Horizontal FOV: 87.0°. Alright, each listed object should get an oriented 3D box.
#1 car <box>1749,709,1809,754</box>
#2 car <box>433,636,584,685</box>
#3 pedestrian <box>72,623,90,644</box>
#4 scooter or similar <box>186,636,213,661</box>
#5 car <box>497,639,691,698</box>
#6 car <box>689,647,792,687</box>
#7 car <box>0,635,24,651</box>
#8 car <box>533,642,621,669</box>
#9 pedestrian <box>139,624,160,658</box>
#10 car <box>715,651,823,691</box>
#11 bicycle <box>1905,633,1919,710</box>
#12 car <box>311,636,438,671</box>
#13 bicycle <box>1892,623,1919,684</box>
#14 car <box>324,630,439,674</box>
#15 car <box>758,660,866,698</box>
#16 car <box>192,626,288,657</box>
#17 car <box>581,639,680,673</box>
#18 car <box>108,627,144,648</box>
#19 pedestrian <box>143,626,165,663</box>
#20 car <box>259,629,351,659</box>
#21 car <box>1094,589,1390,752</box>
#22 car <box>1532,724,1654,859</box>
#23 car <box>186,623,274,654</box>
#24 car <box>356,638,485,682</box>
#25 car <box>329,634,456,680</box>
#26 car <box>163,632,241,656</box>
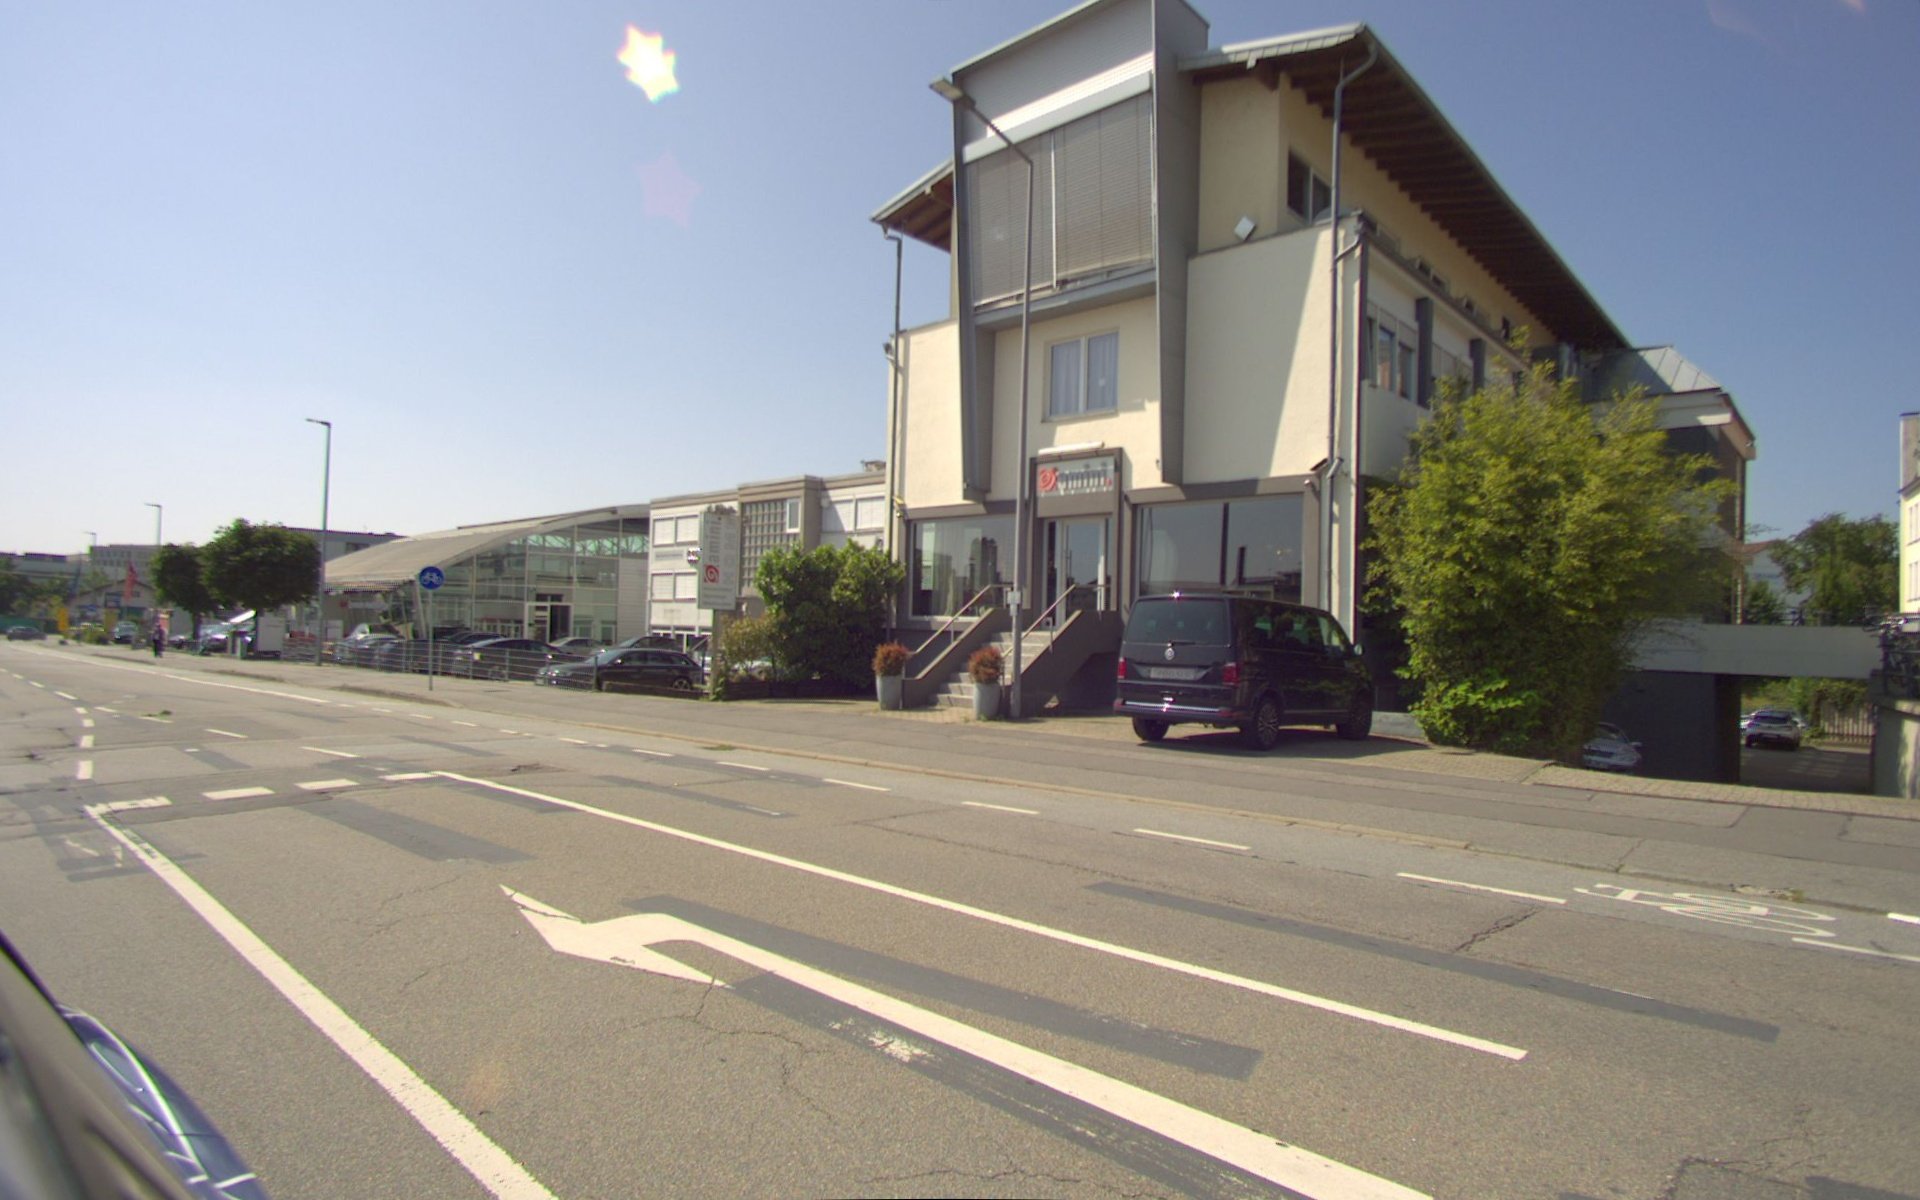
[{"bbox_3d":[36.823,5.853,45.495,1.998,1.652,3.946,-1,-3,40],"label":"car"},{"bbox_3d":[-15.351,2.031,34.593,1.993,1.570,4.253,-1,-3,39],"label":"car"},{"bbox_3d":[-71.228,2.706,81.995,0.981,1.698,0.801,2,-3,-36],"label":"pedestrian"},{"bbox_3d":[-40.557,2.580,53.982,1.487,1.257,0.737,-1,-2,35],"label":"scooter or similar"},{"bbox_3d":[-10.154,1.878,28.374,2.047,1.492,4.688,-1,-3,41],"label":"car"},{"bbox_3d":[-9.268,2.798,42.955,1.858,1.557,3.944,-1,-2,42],"label":"car"},{"bbox_3d":[-91.649,4.116,97.651,1.720,1.415,4.330,2,-2,-41],"label":"car"},{"bbox_3d":[-20.239,2.912,53.604,1.859,1.370,3.943,-1,-3,43],"label":"car"},{"bbox_3d":[-45.060,2.269,56.275,0.911,1.862,0.715,-2,-3,42],"label":"pedestrian"},{"bbox_3d":[-7.701,2.836,41.084,3.940,1.413,1.817,2,-1,-44],"label":"car"},{"bbox_3d":[15.422,1.110,16.020,0.513,1.109,1.616,-1,0,38],"label":"bicycle"},{"bbox_3d":[-25.907,2.369,44.912,1.899,1.469,4.476,-1,-3,41],"label":"car"},{"bbox_3d":[18.600,1.025,19.714,0.513,1.109,1.616,-1,0,38],"label":"bicycle"},{"bbox_3d":[-24.438,2.158,42.842,1.824,1.455,3.847,2,3,43],"label":"car"},{"bbox_3d":[-5.795,3.072,39.842,1.858,1.274,3.944,-1,-2,42],"label":"car"},{"bbox_3d":[-40.802,2.318,57.471,1.837,1.709,4.569,0,-2,7],"label":"car"},{"bbox_3d":[-16.147,2.740,49.778,1.858,1.565,4.310,-1,-2,40],"label":"car"},{"bbox_3d":[-69.831,3.144,84.725,1.883,1.728,4.002,3,-3,-45],"label":"car"},{"bbox_3d":[-41.693,2.285,52.343,0.724,1.882,1.048,3,-3,-43],"label":"pedestrian"},{"bbox_3d":[-34.848,2.320,53.934,1.840,1.562,3.984,-1,-2,12],"label":"car"},{"bbox_3d":[4.066,0.955,14.090,2.093,1.880,4.515,-2,-4,44],"label":"car"},{"bbox_3d":[13.488,3.948,21.628,1.994,2.029,3.956,-1,0,32],"label":"car"},{"bbox_3d":[-43.273,2.277,60.114,1.852,1.506,4.194,0,2,7],"label":"car"},{"bbox_3d":[-20.780,2.298,39.089,1.857,1.501,3.947,2,-1,39],"label":"car"},{"bbox_3d":[-22.792,2.320,40.779,1.858,1.454,3.946,-1,-9,40],"label":"car"},{"bbox_3d":[-48.640,2.802,65.059,1.881,1.470,4.160,0,-1,0],"label":"car"}]
